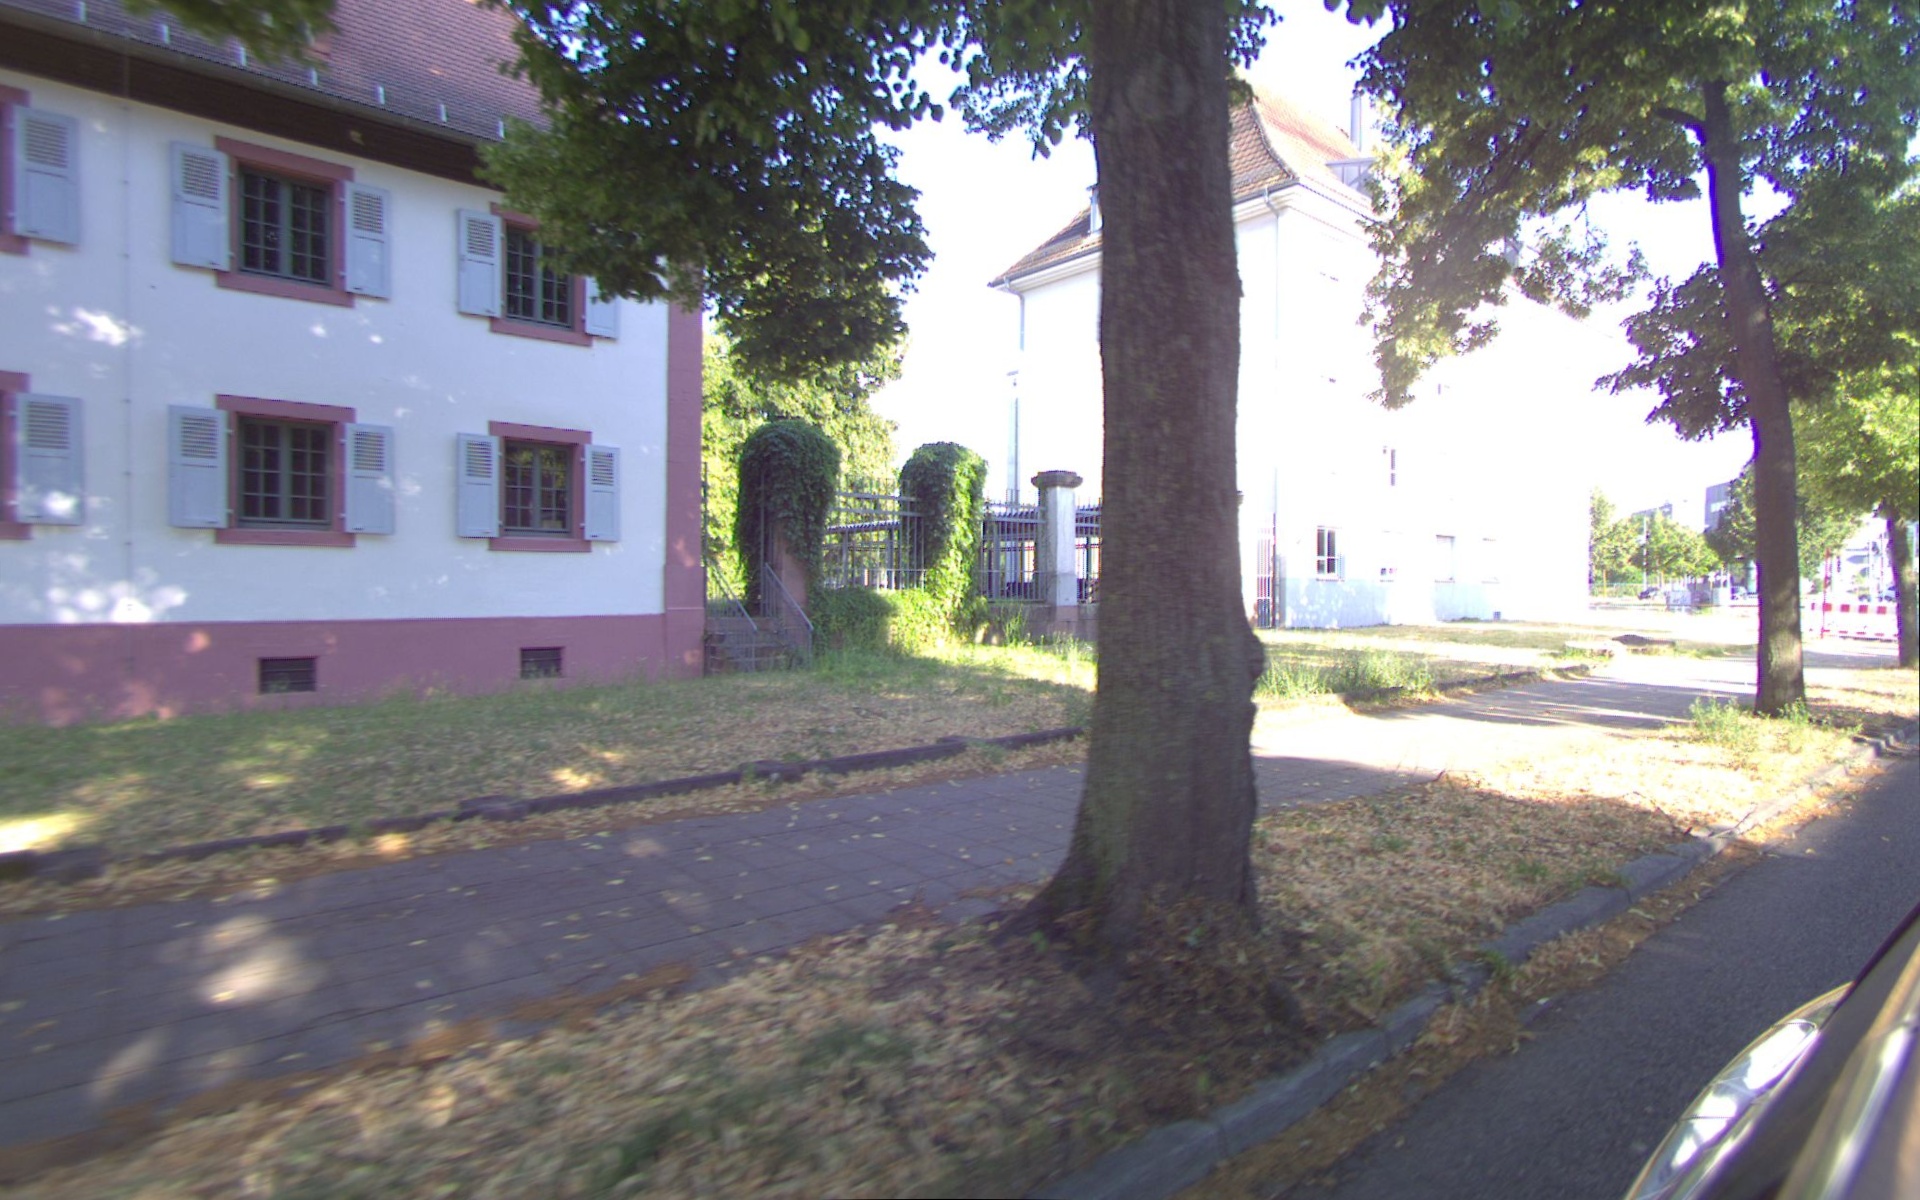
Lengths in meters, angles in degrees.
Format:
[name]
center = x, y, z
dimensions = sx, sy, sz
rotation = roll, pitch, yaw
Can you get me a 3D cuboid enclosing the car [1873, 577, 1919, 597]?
[car]
center = 66.530, -0.901, 70.024
dimensions = 2.051, 1.401, 4.598
rotation = -1, 1, -24
